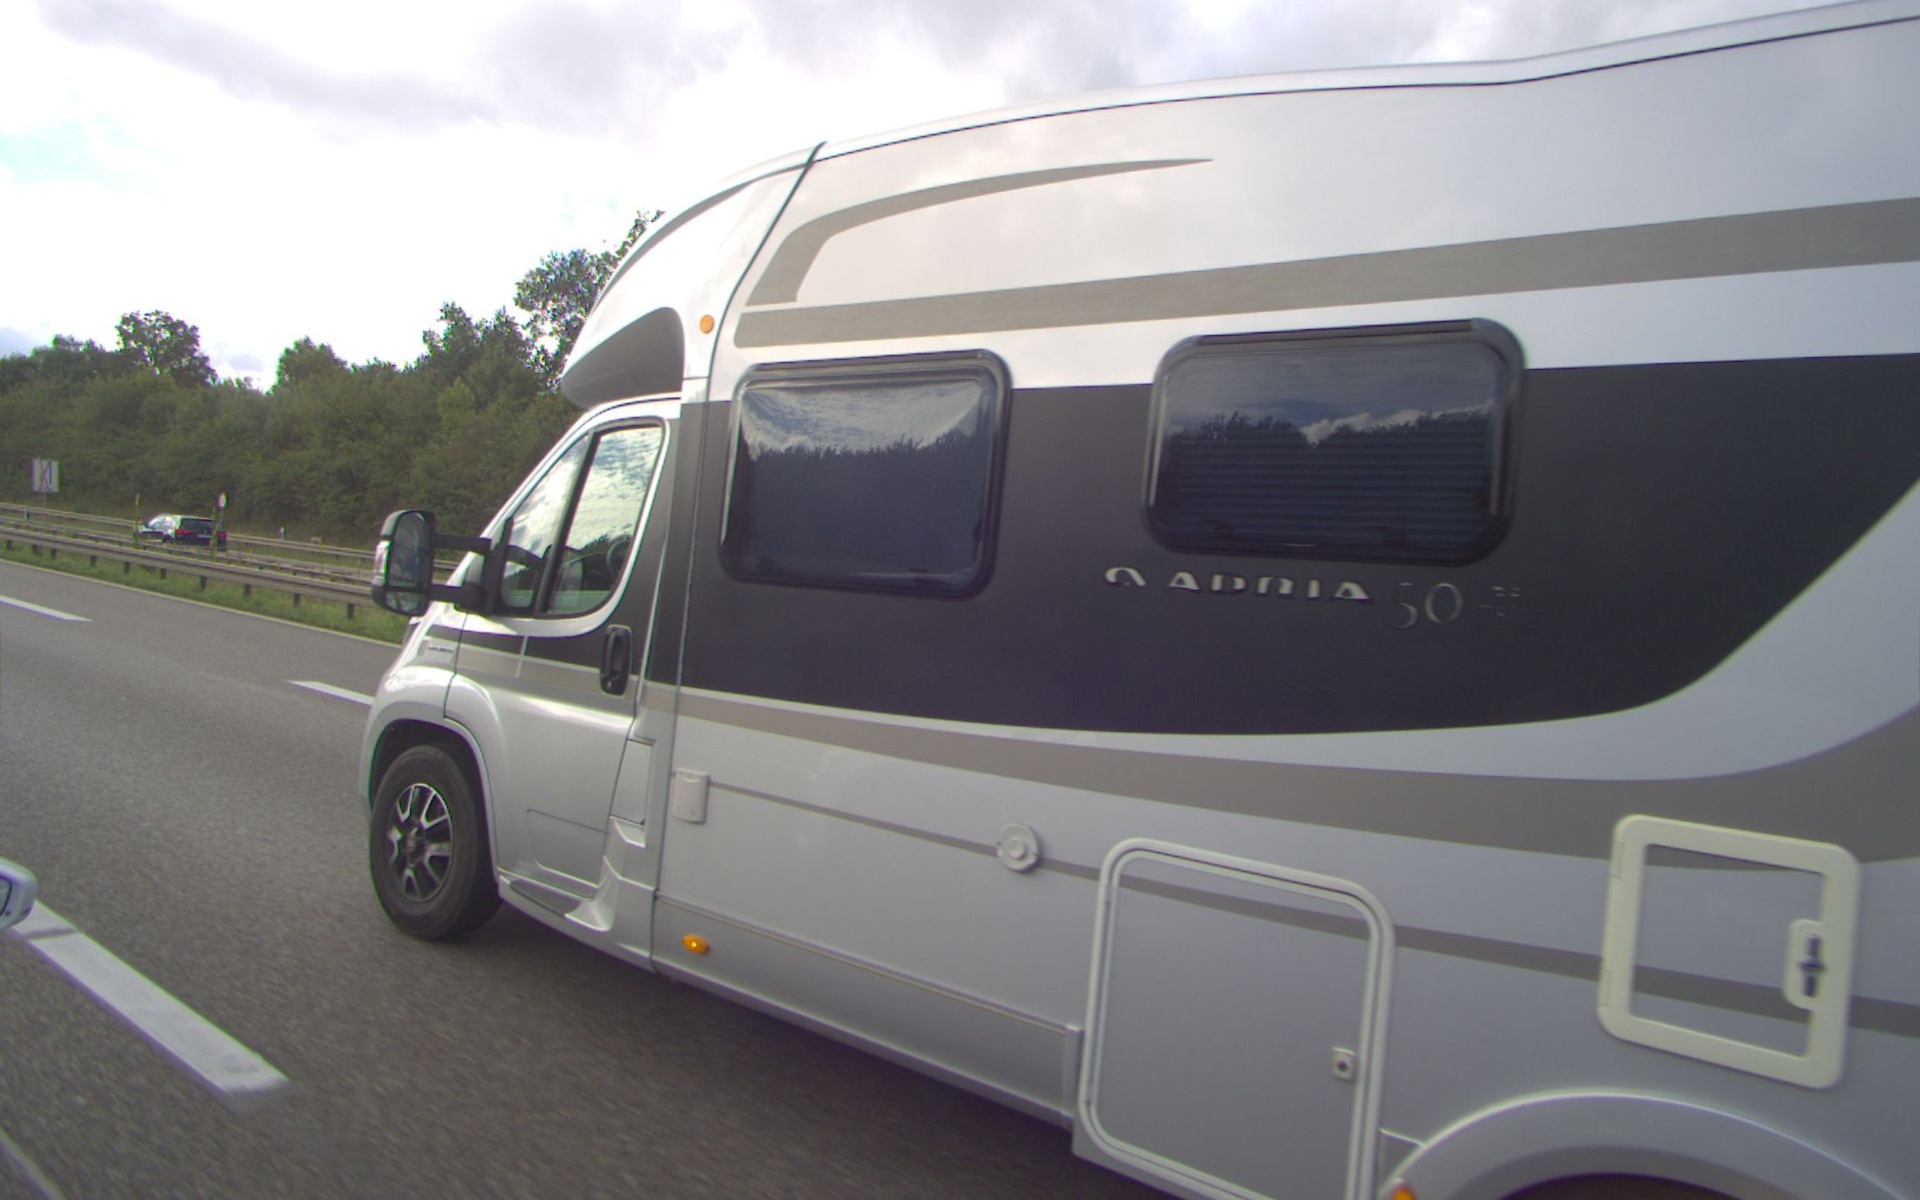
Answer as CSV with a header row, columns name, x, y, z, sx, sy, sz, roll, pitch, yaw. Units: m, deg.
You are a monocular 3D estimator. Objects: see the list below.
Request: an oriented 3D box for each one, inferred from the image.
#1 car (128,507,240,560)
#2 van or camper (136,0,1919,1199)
name,x,y,z,sx,sy,sz,roll,pitch,yaw
car,-29.186,-2.515,37.817,4.450,1.504,1.843,7,3,32
van or camper,0.496,0.170,3.329,7.534,2.755,2.472,7,0,31
